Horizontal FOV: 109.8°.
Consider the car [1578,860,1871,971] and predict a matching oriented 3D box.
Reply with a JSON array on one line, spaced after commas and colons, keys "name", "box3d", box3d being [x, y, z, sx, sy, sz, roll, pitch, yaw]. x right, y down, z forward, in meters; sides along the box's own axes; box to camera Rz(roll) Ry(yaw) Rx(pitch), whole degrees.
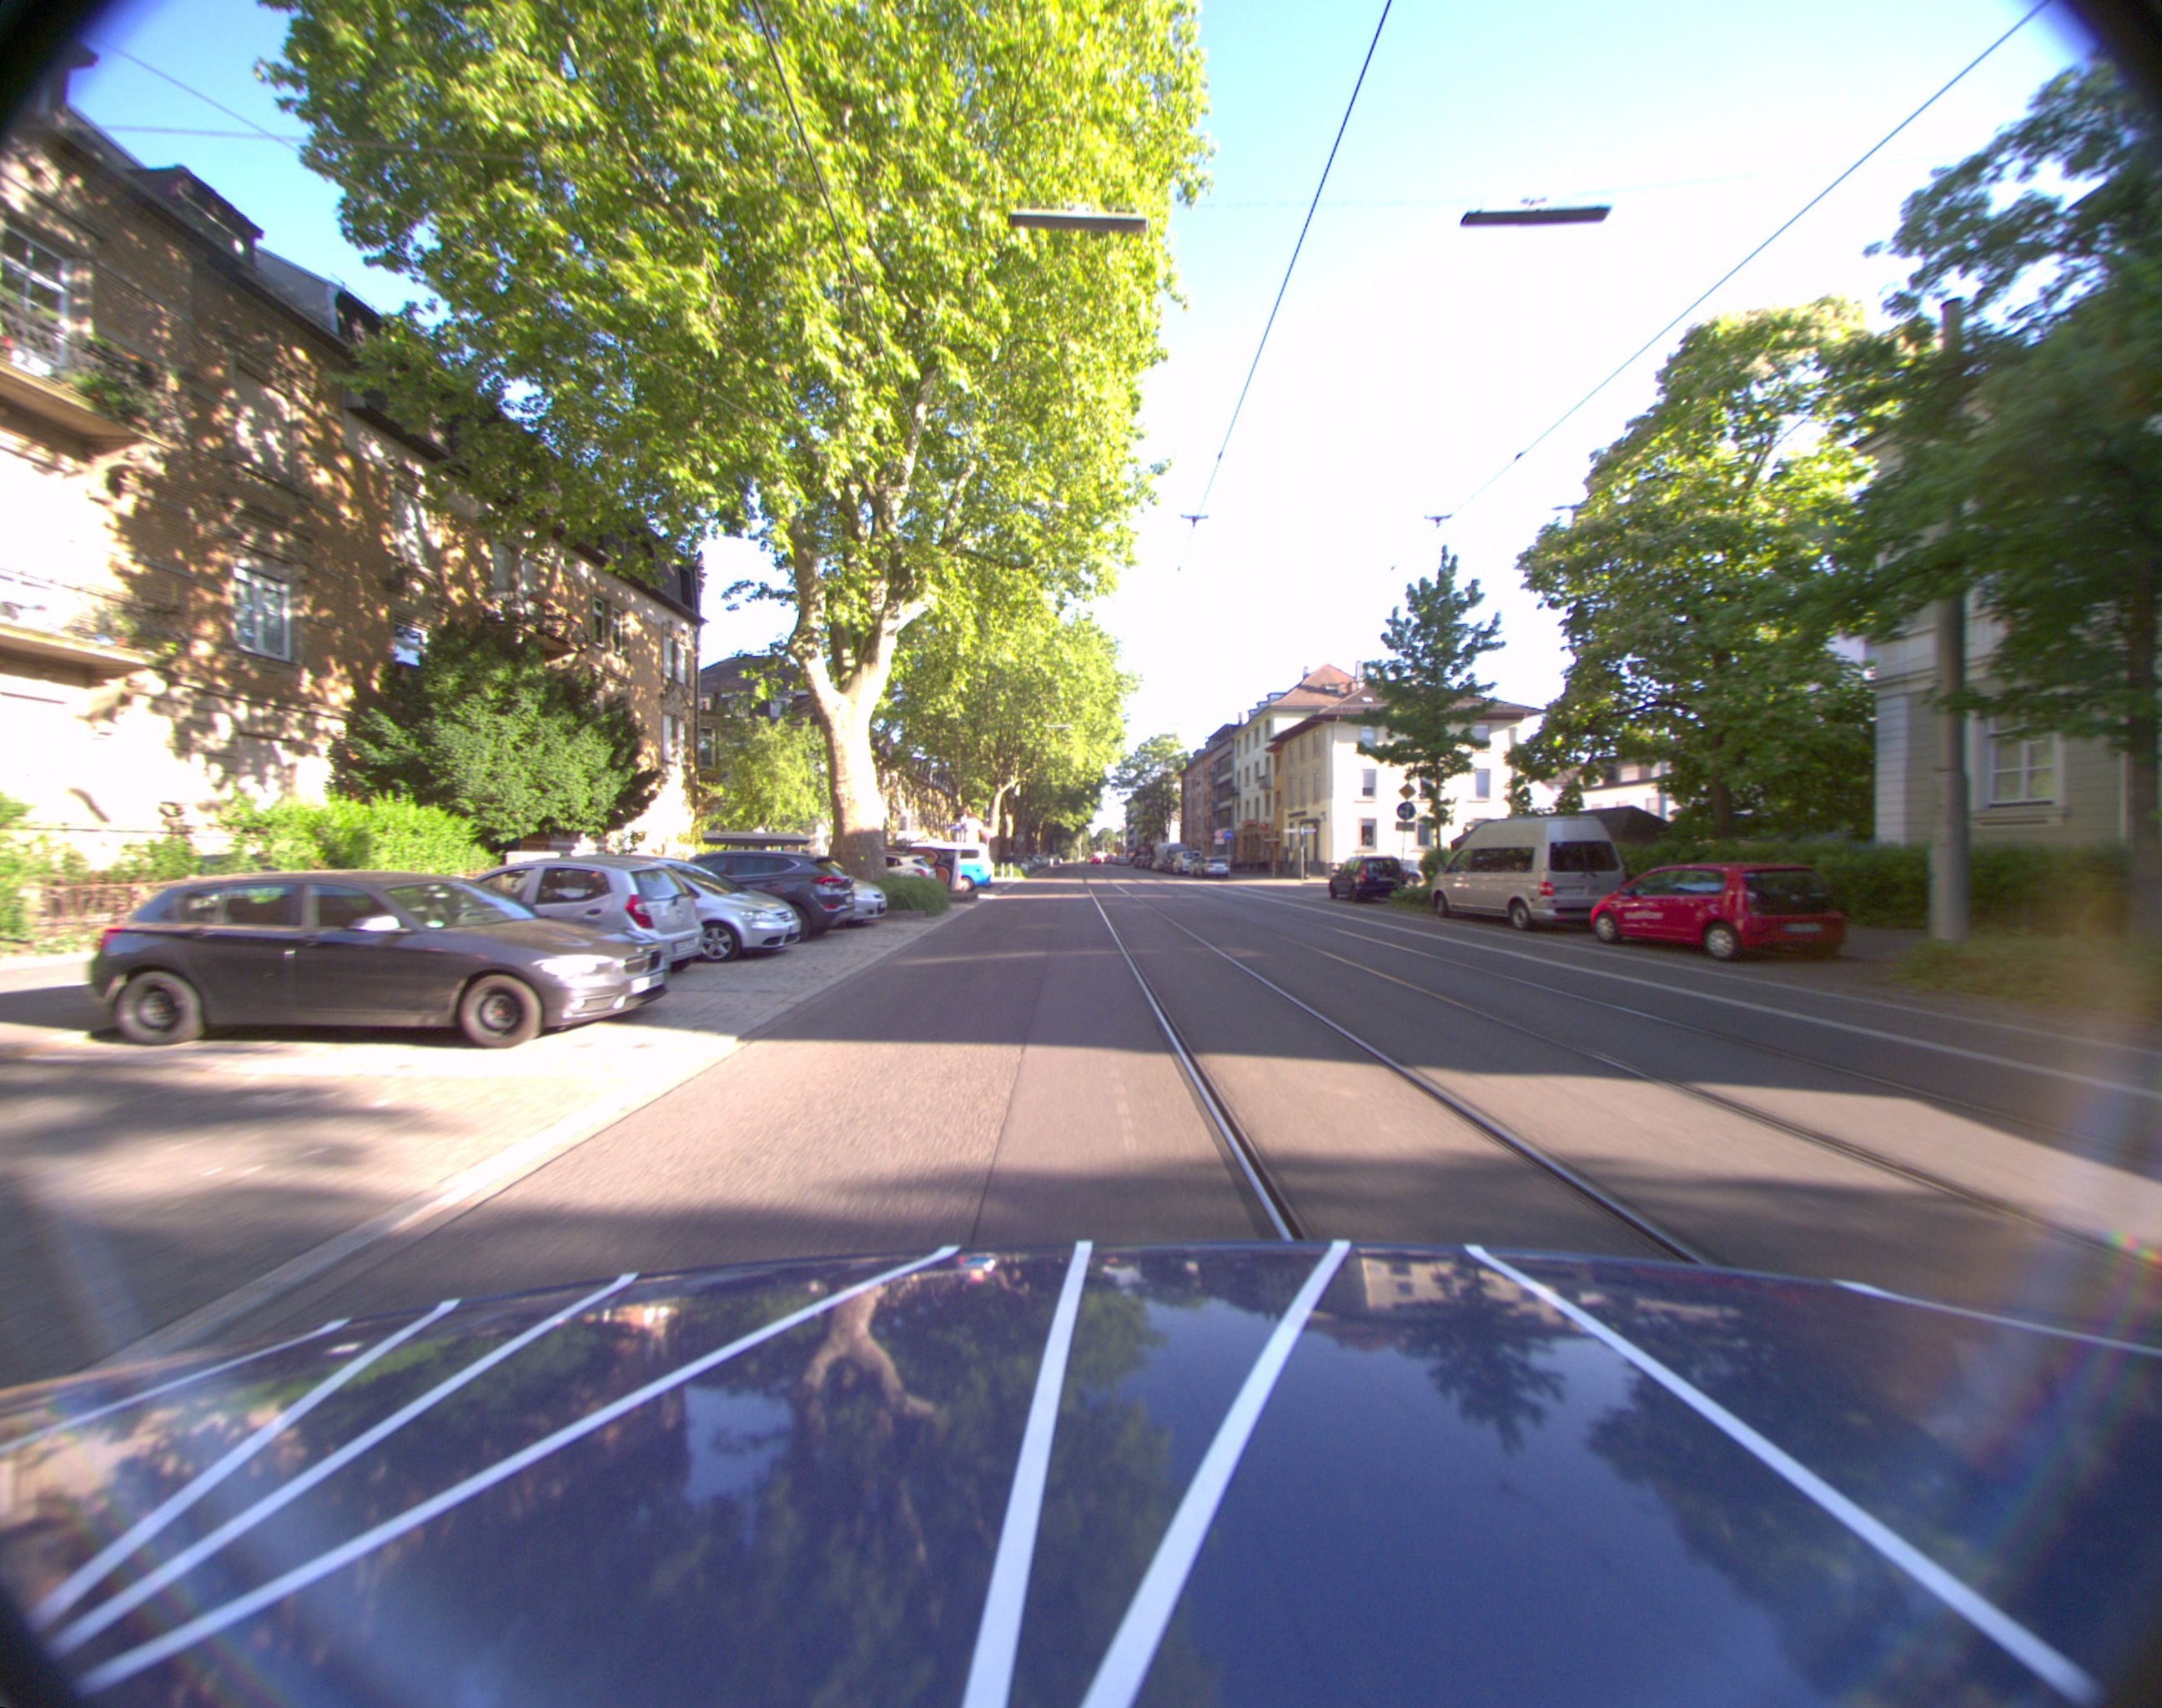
[{"name": "car", "box3d": [10.392, 0.893, 12.684, 1.689, 1.530, 3.707, 0, 0, -1]}]

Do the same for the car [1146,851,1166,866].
[{"name": "car", "box3d": [8.772, 0.514, 89.410, 1.791, 1.743, 4.434, -1, 0, -2]}]

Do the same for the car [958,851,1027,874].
[{"name": "car", "box3d": [-6.434, 0.639, 55.764, 4.810, 1.621, 1.893, 1, 0, -1]}]

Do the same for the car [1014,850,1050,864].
[{"name": "car", "box3d": [-6.639, 0.396, 103.034, 4.611, 1.781, 1.893, 1, 0, 2]}]

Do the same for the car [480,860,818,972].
[{"name": "car", "box3d": [-6.505, 0.887, 11.782, 4.210, 1.565, 1.818, 0, 0, 2]}]

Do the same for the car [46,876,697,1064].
[{"name": "car", "box3d": [-6.103, 0.955, 6.972, 4.211, 1.439, 1.817, 0, 0, -1]}]

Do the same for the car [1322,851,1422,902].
[{"name": "car", "box3d": [10.152, 0.722, 26.879, 1.997, 1.680, 4.261, 0, 0, 2]}]

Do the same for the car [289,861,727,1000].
[{"name": "car", "box3d": [-7.028, 0.883, 9.646, 4.210, 1.546, 1.818, 0, 0, 2]}]

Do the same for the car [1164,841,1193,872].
[{"name": "car", "box3d": [9.012, 0.212, 70.864, 1.928, 2.730, 4.546, -4, 0, 0]}]

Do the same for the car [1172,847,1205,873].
[{"name": "car", "box3d": [9.107, 0.480, 64.649, 1.928, 2.034, 4.940, -1, 0, -2]}]

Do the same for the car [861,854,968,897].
[{"name": "car", "box3d": [-6.379, 0.812, 29.423, 3.792, 1.479, 1.790, 2, 0, -3]}]

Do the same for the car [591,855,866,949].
[{"name": "car", "box3d": [-6.338, 0.829, 14.086, 4.212, 1.609, 1.878, 0, 0, -3]}]

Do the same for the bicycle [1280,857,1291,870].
[{"name": "bicycle", "box3d": [15.108, 0.719, 56.225, 0.362, 0.923, 1.647, 0, 0, 0]}]

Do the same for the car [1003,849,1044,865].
[{"name": "car", "box3d": [-6.709, 0.343, 88.933, 4.611, 1.781, 1.893, 1, 0, 2]}]

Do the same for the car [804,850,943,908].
[{"name": "car", "box3d": [-6.309, 0.737, 23.423, 3.792, 1.609, 1.790, 2, 0, -3]}]

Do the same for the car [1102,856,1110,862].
[{"name": "car", "box3d": [6.296, 1.323, 190.150, 1.769, 1.448, 3.585, 0, 0, 0]}]

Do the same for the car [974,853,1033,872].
[{"name": "car", "box3d": [-6.370, 0.688, 63.023, 4.611, 1.485, 1.893, 1, 0, 2]}]

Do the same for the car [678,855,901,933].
[{"name": "car", "box3d": [-6.319, 0.827, 16.798, 4.210, 1.609, 1.818, 0, 1, 2]}]

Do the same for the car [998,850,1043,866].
[{"name": "car", "box3d": [-6.550, 0.400, 82.397, 4.611, 1.631, 1.893, 1, 0, 2]}]

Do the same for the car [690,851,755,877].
[{"name": "car", "box3d": [-22.322, 0.579, 47.514, 1.728, 1.573, 4.003, 0, 0, 9]}]

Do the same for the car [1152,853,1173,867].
[{"name": "car", "box3d": [8.947, 0.615, 83.854, 1.791, 1.506, 3.472, -1, 0, -2]}]

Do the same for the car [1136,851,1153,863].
[{"name": "car", "box3d": [8.669, 0.372, 104.357, 1.791, 1.660, 4.434, -1, 0, -2]}]

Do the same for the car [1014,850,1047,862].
[{"name": "car", "box3d": [-7.365, 0.349, 110.663, 4.611, 1.705, 1.893, 1, 0, 2]}]

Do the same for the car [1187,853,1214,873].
[{"name": "car", "box3d": [9.234, 0.677, 58.800, 1.575, 1.484, 2.882, -1, 0, 0]}]

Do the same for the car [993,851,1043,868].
[{"name": "car", "box3d": [-6.085, 0.510, 73.999, 4.611, 1.557, 1.893, 1, 0, 2]}]

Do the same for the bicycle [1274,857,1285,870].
[{"name": "bicycle", "box3d": [15.112, 0.713, 57.903, 0.362, 0.923, 1.647, 0, 0, 0]}]

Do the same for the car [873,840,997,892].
[{"name": "car", "box3d": [-6.093, 0.511, 32.163, 4.860, 2.002, 2.193, 2, 0, -4]}]

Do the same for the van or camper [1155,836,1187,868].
[{"name": "van or camper", "box3d": [9.091, -0.179, 77.479, 2.423, 2.960, 5.990, -4, 0, 0]}]

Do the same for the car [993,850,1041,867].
[{"name": "car", "box3d": [-6.351, 0.460, 75.929, 4.611, 1.631, 1.893, 1, 0, 2]}]

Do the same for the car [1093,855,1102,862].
[{"name": "car", "box3d": [3.420, 0.925, 160.280, 1.769, 1.448, 3.585, 0, 0, 0]}]

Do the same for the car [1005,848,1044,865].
[{"name": "car", "box3d": [-7.021, 0.290, 95.151, 4.636, 2.001, 1.893, 1, 0, 2]}]

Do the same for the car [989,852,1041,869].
[{"name": "car", "box3d": [-6.204, 0.606, 71.403, 4.611, 1.485, 1.893, 1, 0, 2]}]

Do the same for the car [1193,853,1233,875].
[{"name": "car", "box3d": [9.347, 0.668, 54.195, 1.776, 1.484, 4.939, -1, 0, -3]}]

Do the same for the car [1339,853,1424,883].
[{"name": "car", "box3d": [16.976, 0.775, 43.089, 4.071, 1.608, 1.966, 0, 1, 3]}]

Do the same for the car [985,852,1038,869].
[{"name": "car", "box3d": [-6.336, 0.591, 69.306, 4.611, 1.485, 1.893, 1, 0, 2]}]

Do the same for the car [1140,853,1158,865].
[{"name": "car", "box3d": [8.855, 0.677, 99.461, 1.791, 1.462, 4.434, -1, 0, -2]}]

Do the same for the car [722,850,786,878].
[{"name": "car", "box3d": [-19.924, 0.575, 46.465, 1.728, 1.573, 4.003, 0, 0, 9]}]

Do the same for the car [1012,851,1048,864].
[{"name": "car", "box3d": [-6.700, 0.472, 100.677, 4.611, 1.631, 1.893, 1, 0, 2]}]

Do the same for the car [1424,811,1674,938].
[{"name": "car", "box3d": [10.382, 0.394, 17.555, 2.310, 2.493, 5.342, 0, 0, -2]}]
